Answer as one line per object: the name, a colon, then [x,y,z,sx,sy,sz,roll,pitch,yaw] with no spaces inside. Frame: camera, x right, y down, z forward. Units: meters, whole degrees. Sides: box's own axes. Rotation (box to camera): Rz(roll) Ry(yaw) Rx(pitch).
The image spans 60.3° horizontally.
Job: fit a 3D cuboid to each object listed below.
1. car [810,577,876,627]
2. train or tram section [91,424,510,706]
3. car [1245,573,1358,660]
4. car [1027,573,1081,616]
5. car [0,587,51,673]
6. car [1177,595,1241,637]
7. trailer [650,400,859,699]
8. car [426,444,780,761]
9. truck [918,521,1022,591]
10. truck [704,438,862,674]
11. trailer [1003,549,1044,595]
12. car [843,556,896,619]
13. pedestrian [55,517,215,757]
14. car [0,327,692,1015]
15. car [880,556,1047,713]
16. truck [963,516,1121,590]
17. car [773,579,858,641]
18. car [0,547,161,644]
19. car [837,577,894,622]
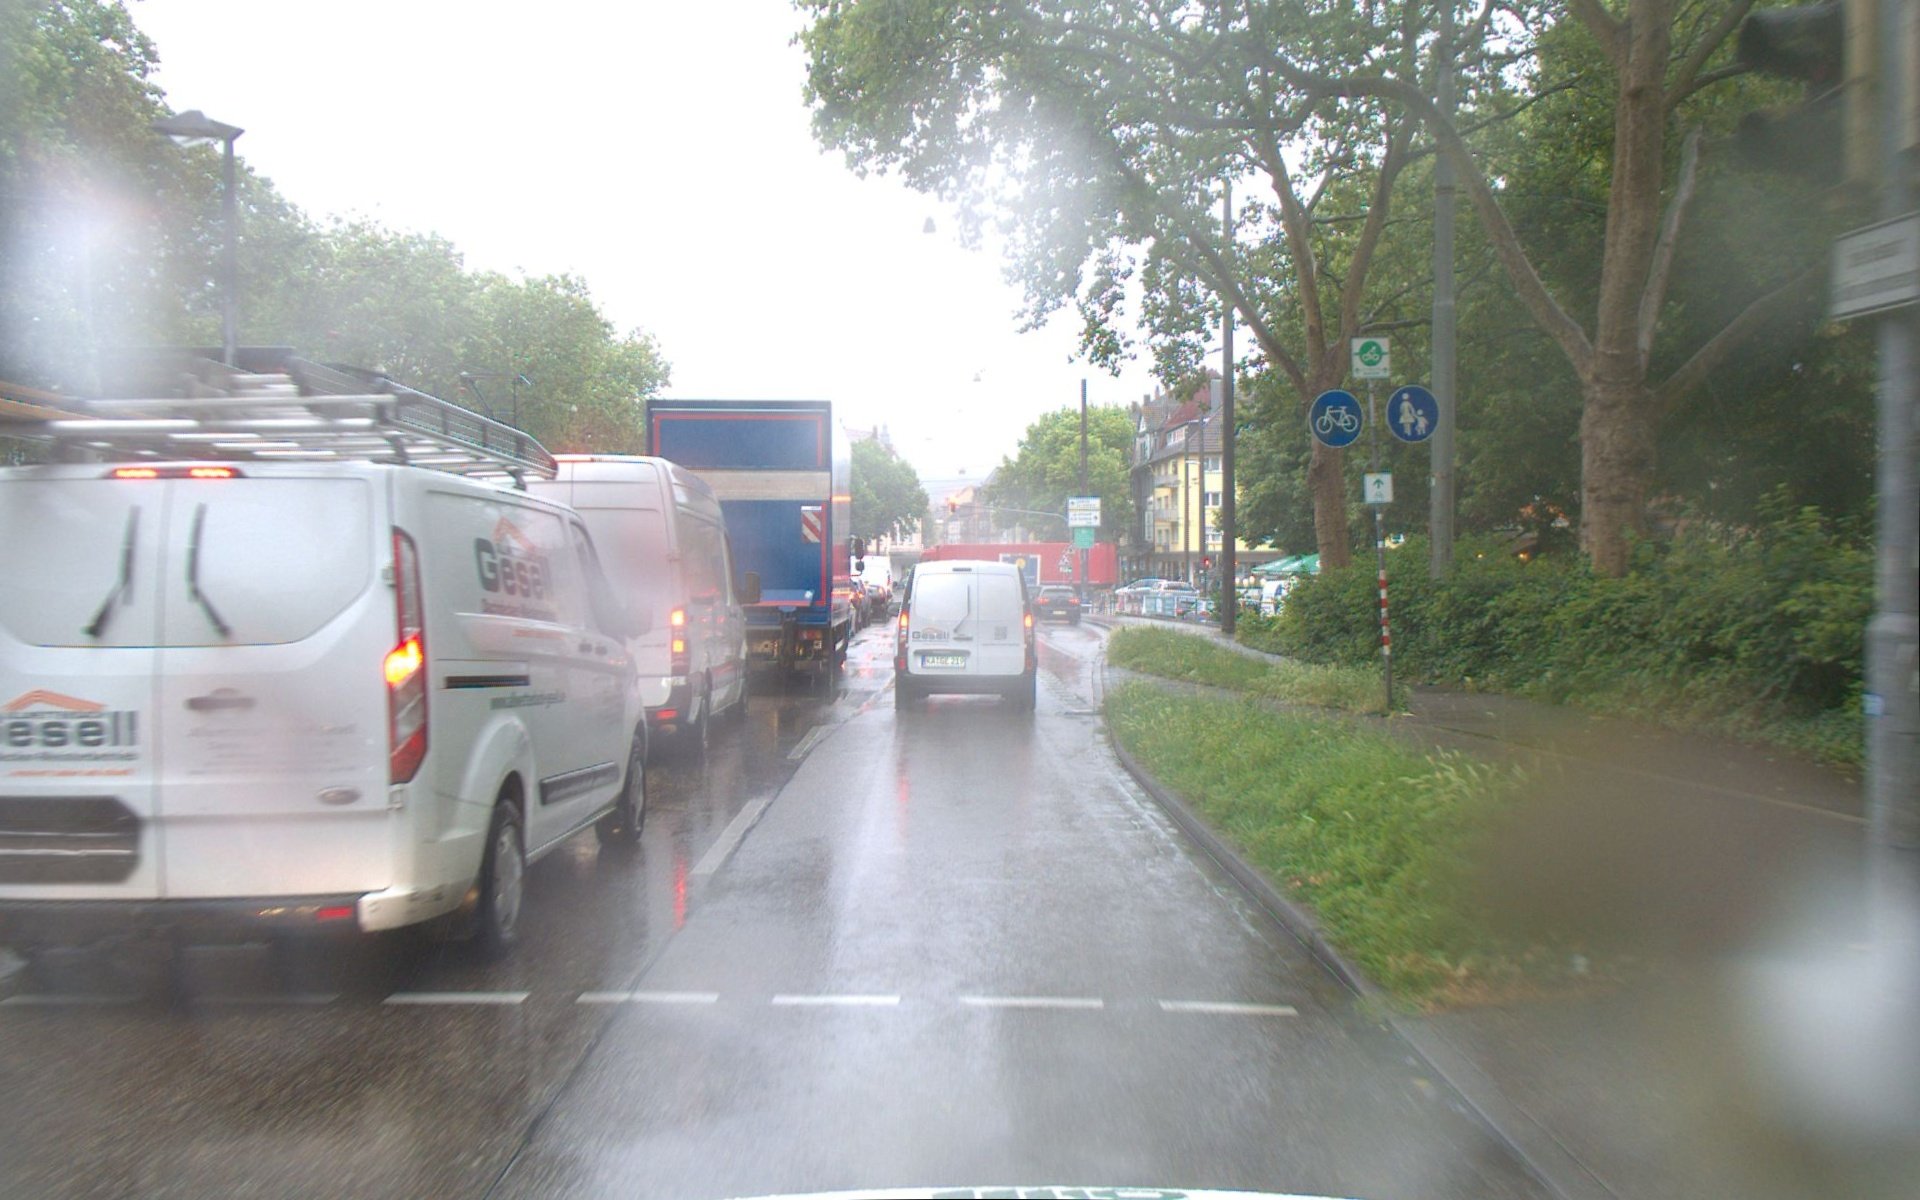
car: [-3.938,0.045,56.234,1.953,1.606,4.291,1,0,-1]
train or tram section: [-9.176,-0.531,24.369,2.901,3.342,8.358,-2,1,-2]
car: [11.000,0.450,53.745,2.136,2.576,5.774,-2,1,-3]
car: [3.564,-0.209,62.508,1.952,1.569,4.002,0,0,3]
car: [-18.966,0.589,30.678,1.953,1.608,4.000,-1,1,0]
car: [10.228,0.633,68.215,1.786,1.516,4.351,-2,1,-2]
trailer: [-2.962,-0.716,25.835,2.538,3.968,7.634,0,1,-2]
car: [-3.270,0.039,16.672,2.282,2.602,6.113,0,0,-1]
truck: [0.709,-3.298,124.201,7.024,4.984,3.283,-1,1,30]
truck: [-3.097,-0.767,29.923,2.529,3.972,3.999,0,1,-2]
trailer: [3.418,-1.444,88.606,1.951,2.357,4.671,0,0,5]
car: [-3.704,-0.524,68.488,1.953,2.484,4.611,1,0,-1]
pedestrian: [-6.246,0.277,12.559,0.774,1.744,0.770,2,-1,-2]
car: [-2.715,0.253,8.186,1.953,2.302,5.288,0,0,-1]
car: [0.019,0.405,20.851,1.919,1.808,3.569,0,0,-1]
truck: [5.941,-3.392,121.039,11.152,4.984,3.283,-1,1,30]
car: [-3.828,0.220,44.427,1.953,1.498,4.266,1,1,-1]
car: [-22.362,-0.142,41.530,1.952,2.262,5.225,0,1,1]
car: [-3.577,-0.041,62.971,1.953,1.606,4.291,1,0,-1]
